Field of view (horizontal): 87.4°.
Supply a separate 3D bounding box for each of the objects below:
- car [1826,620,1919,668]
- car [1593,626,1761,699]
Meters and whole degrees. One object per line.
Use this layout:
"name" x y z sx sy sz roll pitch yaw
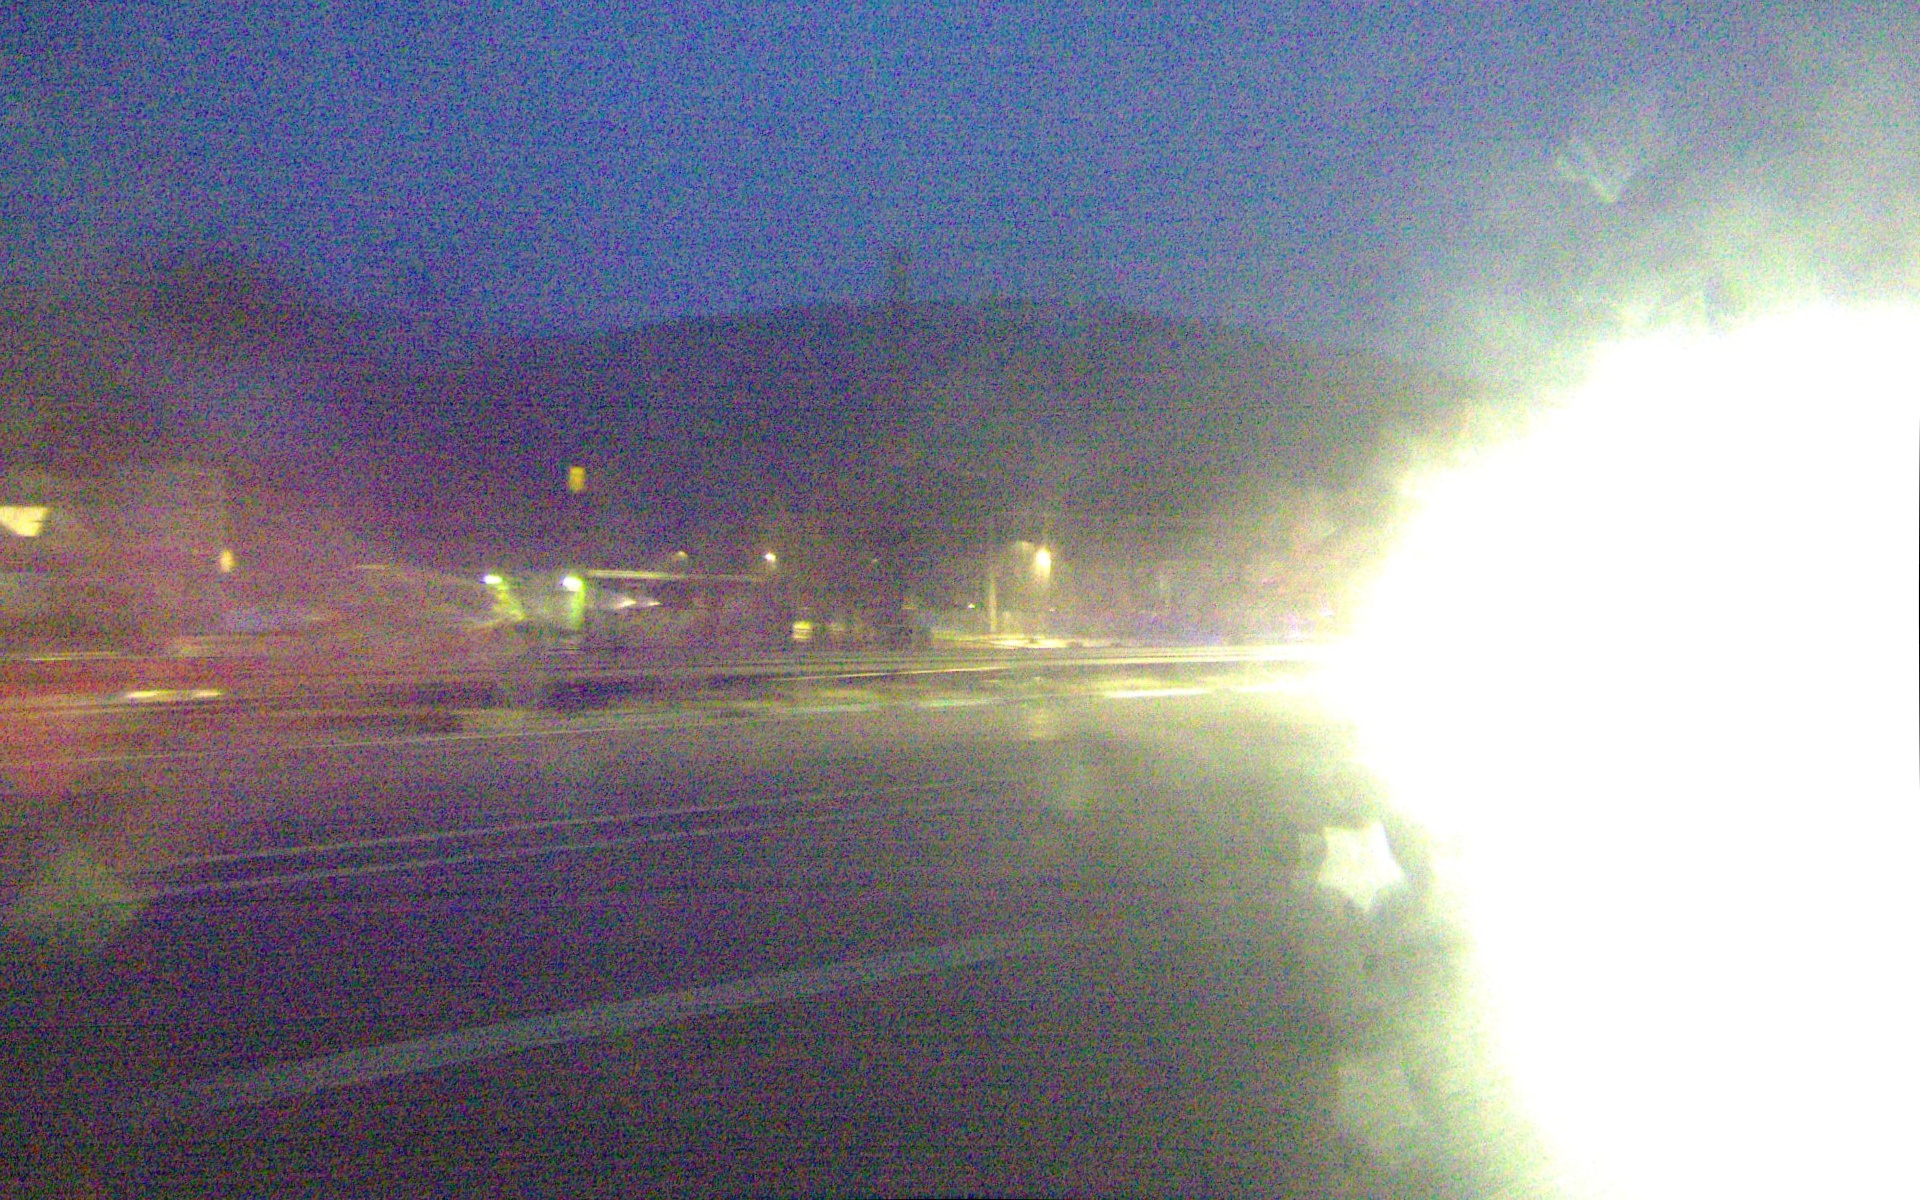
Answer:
"car" 30.404 1.425 33.225 3.817 1.460 1.779 0 -2 -35
"car" 16.687 1.393 23.309 4.447 1.461 1.820 2 0 -36
